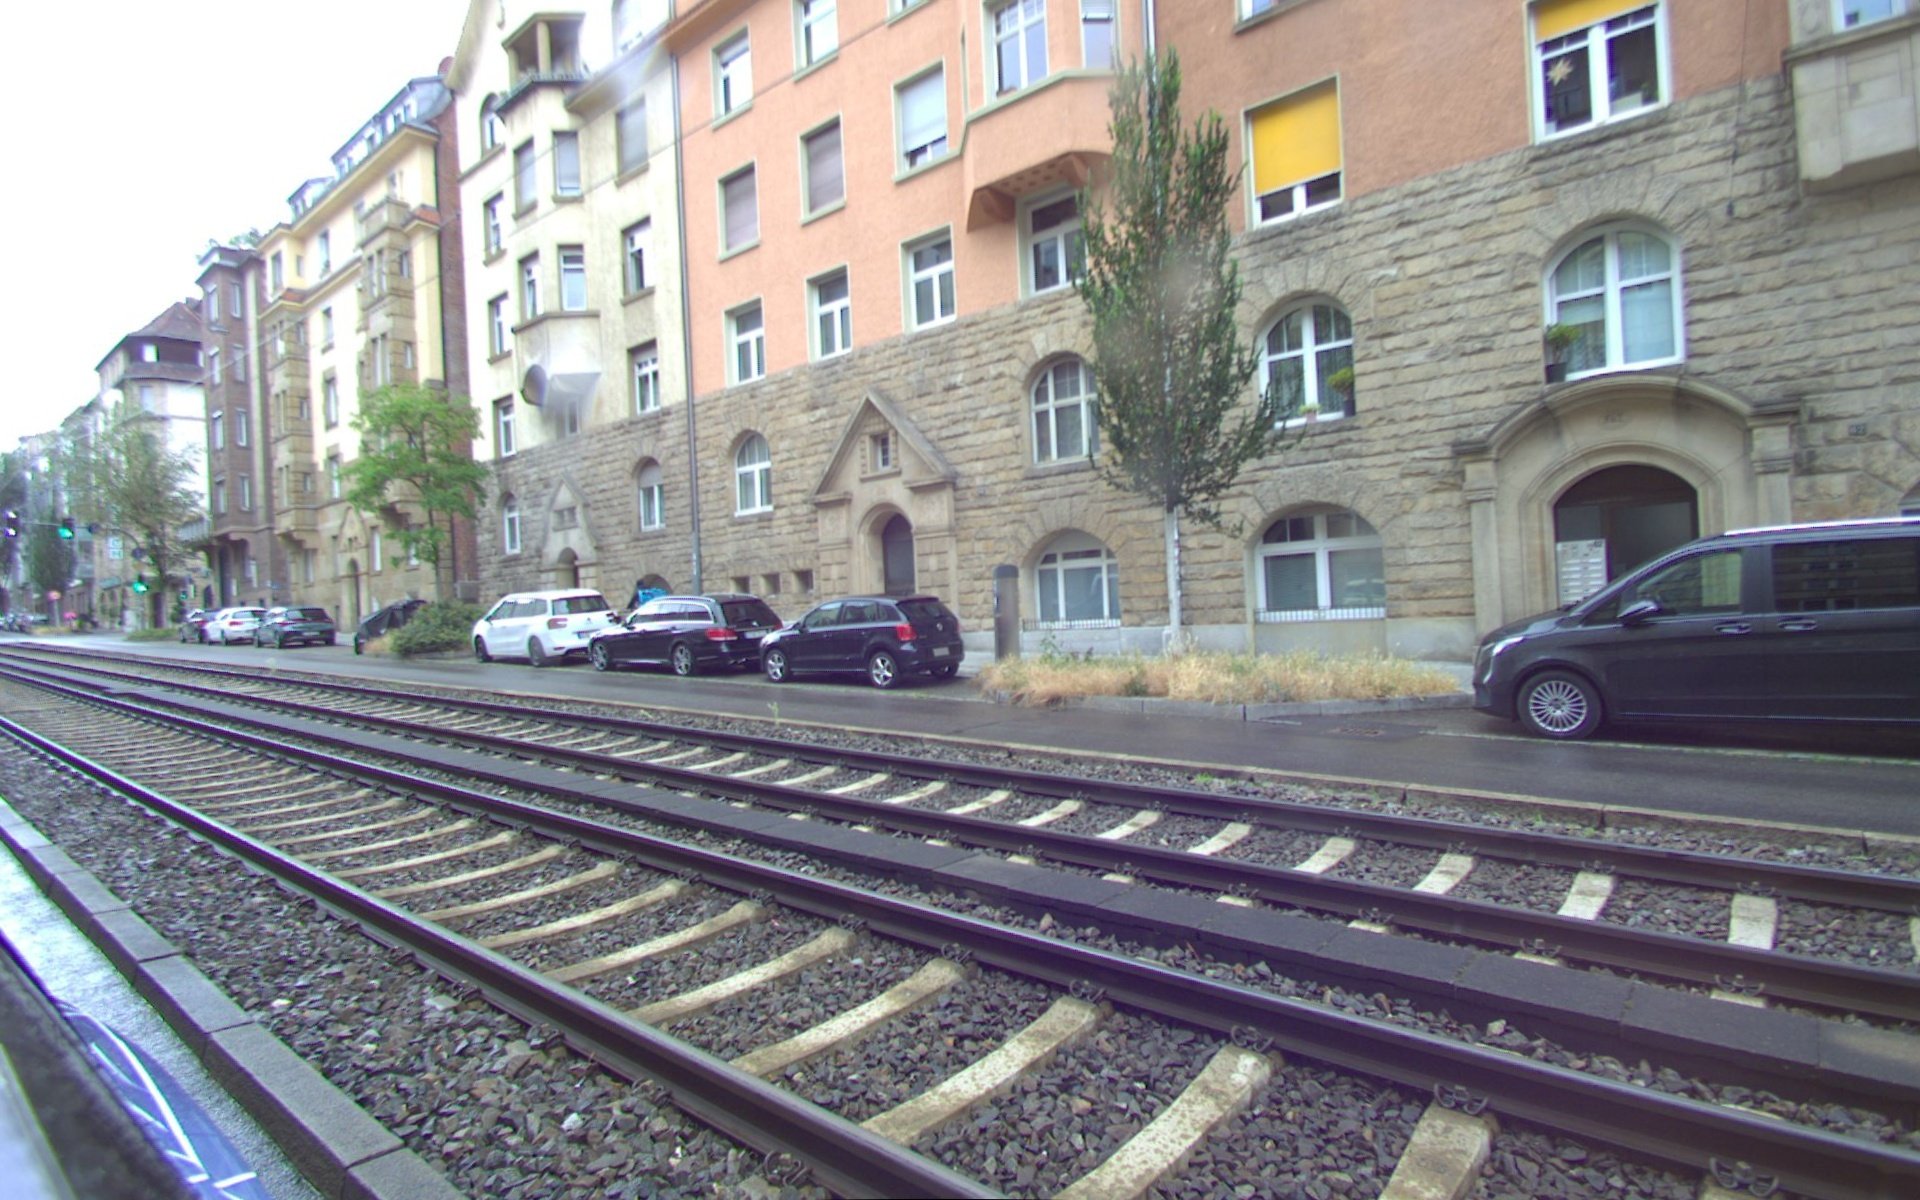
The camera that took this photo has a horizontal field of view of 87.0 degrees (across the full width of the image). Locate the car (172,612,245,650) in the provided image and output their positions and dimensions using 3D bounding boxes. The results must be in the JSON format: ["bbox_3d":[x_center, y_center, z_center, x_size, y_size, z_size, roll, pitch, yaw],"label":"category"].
[{"bbox_3d":[-32.059,1.275,43.143,3.712,1.438,1.737,-1,3,42],"label":"car"}]

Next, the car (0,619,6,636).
[{"bbox_3d":[-81.541,2.314,84.881,4.255,1.356,1.771,-1,0,41],"label":"car"}]

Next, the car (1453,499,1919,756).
[{"bbox_3d":[7.217,0.212,8.936,4.829,1.945,1.886,-1,0,40],"label":"car"}]

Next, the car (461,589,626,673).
[{"bbox_3d":[-9.751,0.668,23.559,4.257,1.684,1.738,-1,3,40],"label":"car"}]

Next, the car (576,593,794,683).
[{"bbox_3d":[-5.470,0.690,19.851,4.593,1.502,1.738,-1,2,39],"label":"car"}]

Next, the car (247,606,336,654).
[{"bbox_3d":[-23.736,1.033,35.895,3.712,1.493,1.695,-1,3,42],"label":"car"}]

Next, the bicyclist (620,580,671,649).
[{"bbox_3d":[-7.544,0.338,24.289,0.774,1.613,0.883,-1,0,41],"label":"bicyclist"}]

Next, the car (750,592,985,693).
[{"bbox_3d":[-1.595,0.644,16.841,3.690,1.414,1.739,-1,2,38],"label":"car"}]

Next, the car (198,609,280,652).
[{"bbox_3d":[-28.370,1.156,39.794,4.043,1.462,1.737,-1,3,42],"label":"car"}]

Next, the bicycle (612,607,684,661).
[{"bbox_3d":[-7.494,0.797,24.255,2.052,1.231,0.685,-1,0,41],"label":"bicycle"}]
